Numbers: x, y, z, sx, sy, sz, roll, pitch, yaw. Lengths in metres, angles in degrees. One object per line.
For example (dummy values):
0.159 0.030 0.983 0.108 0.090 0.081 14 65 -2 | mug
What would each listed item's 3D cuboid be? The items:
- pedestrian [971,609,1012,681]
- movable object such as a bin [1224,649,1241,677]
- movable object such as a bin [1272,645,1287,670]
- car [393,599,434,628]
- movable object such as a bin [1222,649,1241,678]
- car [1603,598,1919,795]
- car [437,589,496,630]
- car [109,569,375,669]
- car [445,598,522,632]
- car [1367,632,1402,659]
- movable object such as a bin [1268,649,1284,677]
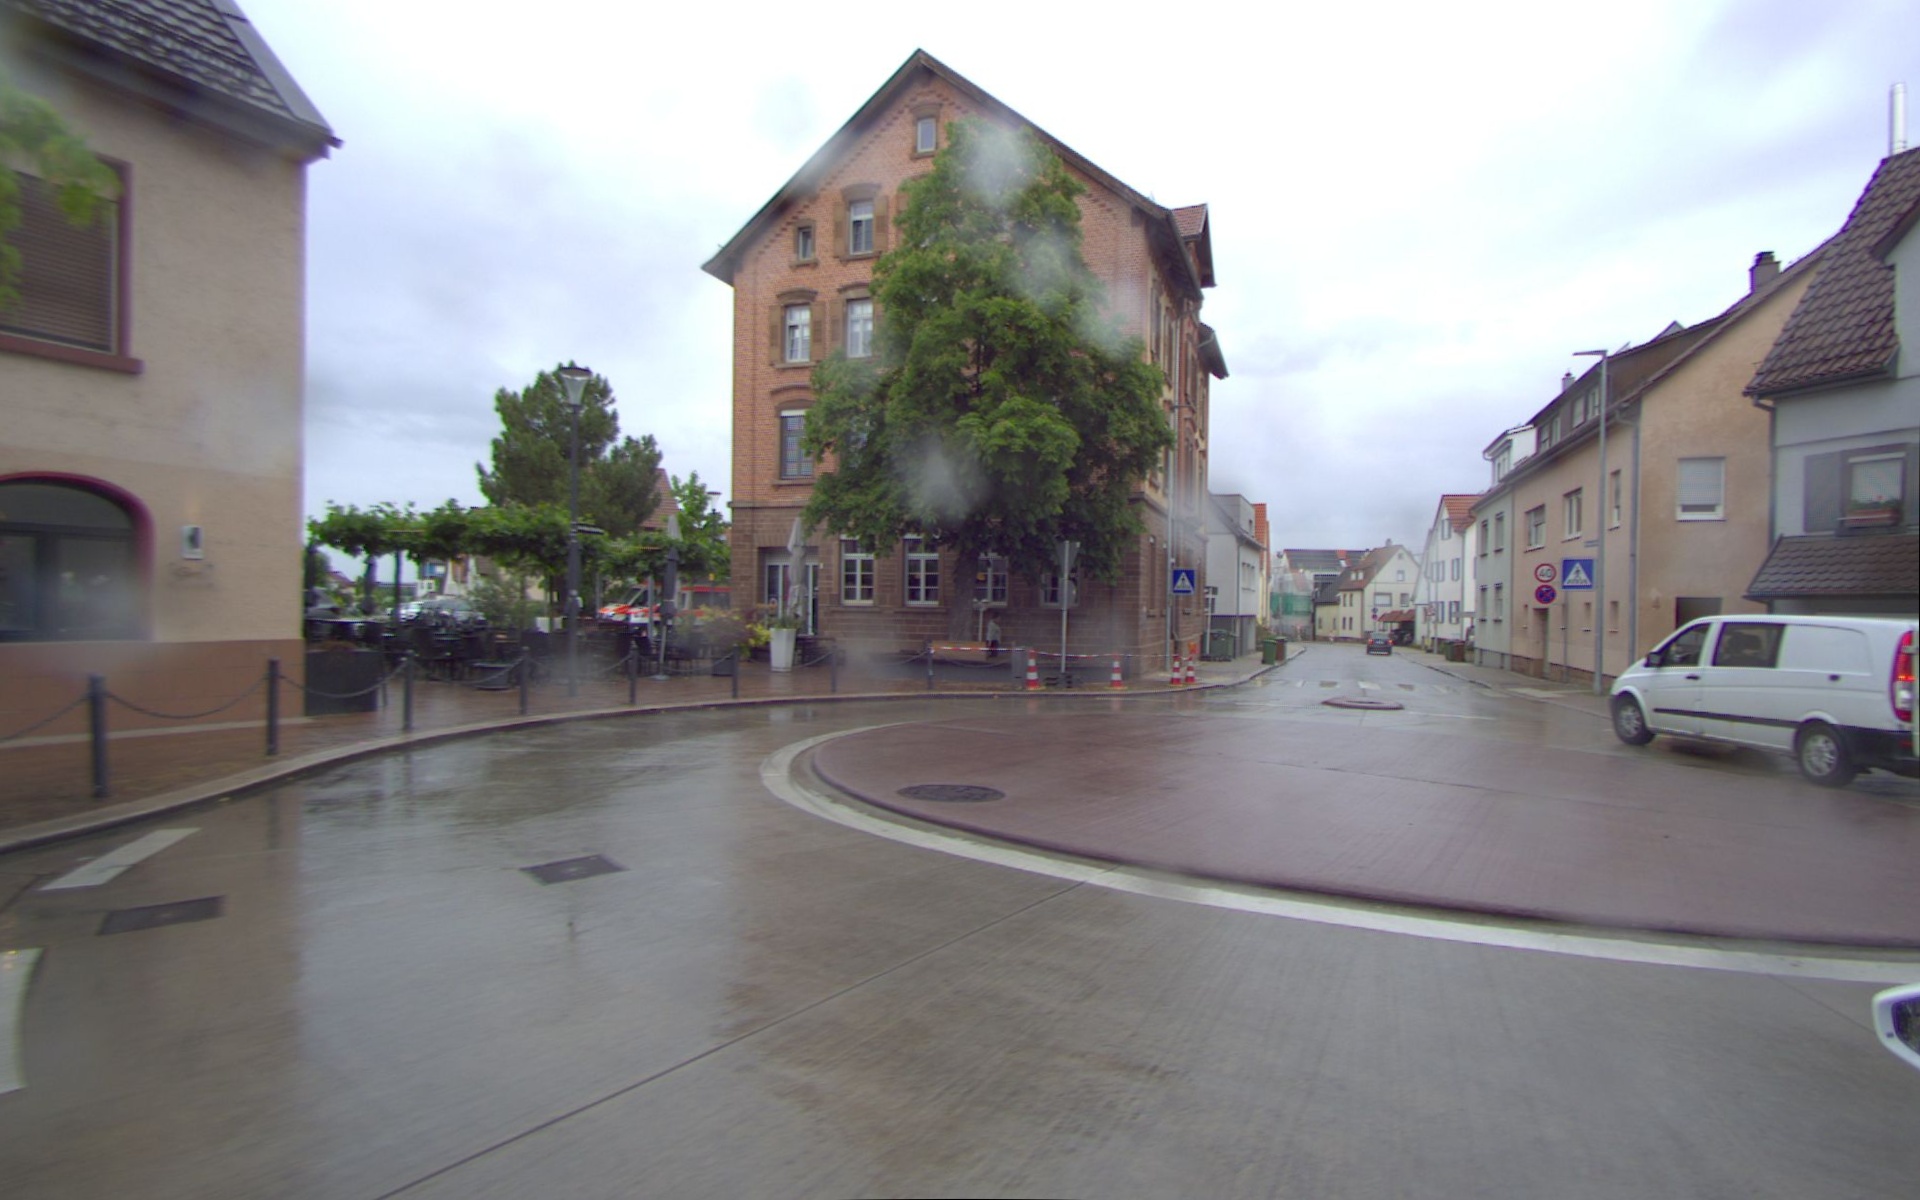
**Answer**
0.885 1.247 27.992 0.826 1.911 0.825 3 -1 21 | pedestrian
12.126 2.810 44.632 0.657 1.184 0.601 3 -1 17 | movable object such as a bin
15.741 2.847 49.505 0.643 1.184 0.782 3 -1 17 | movable object such as a bin
-40.232 0.995 73.916 1.983 2.040 3.956 4 -2 -38 | car
11.880 2.765 43.865 0.735 1.184 0.632 3 -1 17 | movable object such as a bin
10.422 1.064 12.262 2.116 1.923 4.928 2 -2 2 | car
-26.415 0.498 53.674 1.983 2.040 3.956 4 -2 -38 | car
-16.251 0.480 22.998 1.965 2.040 4.479 1 -2 32 | car
-22.457 0.710 47.258 3.943 1.461 1.865 1 -2 42 | car
29.185 3.129 69.173 1.940 1.701 4.069 2 -2 20 | car
14.068 2.793 44.758 0.616 1.188 0.762 3 -1 17 | movable object such as a bin
